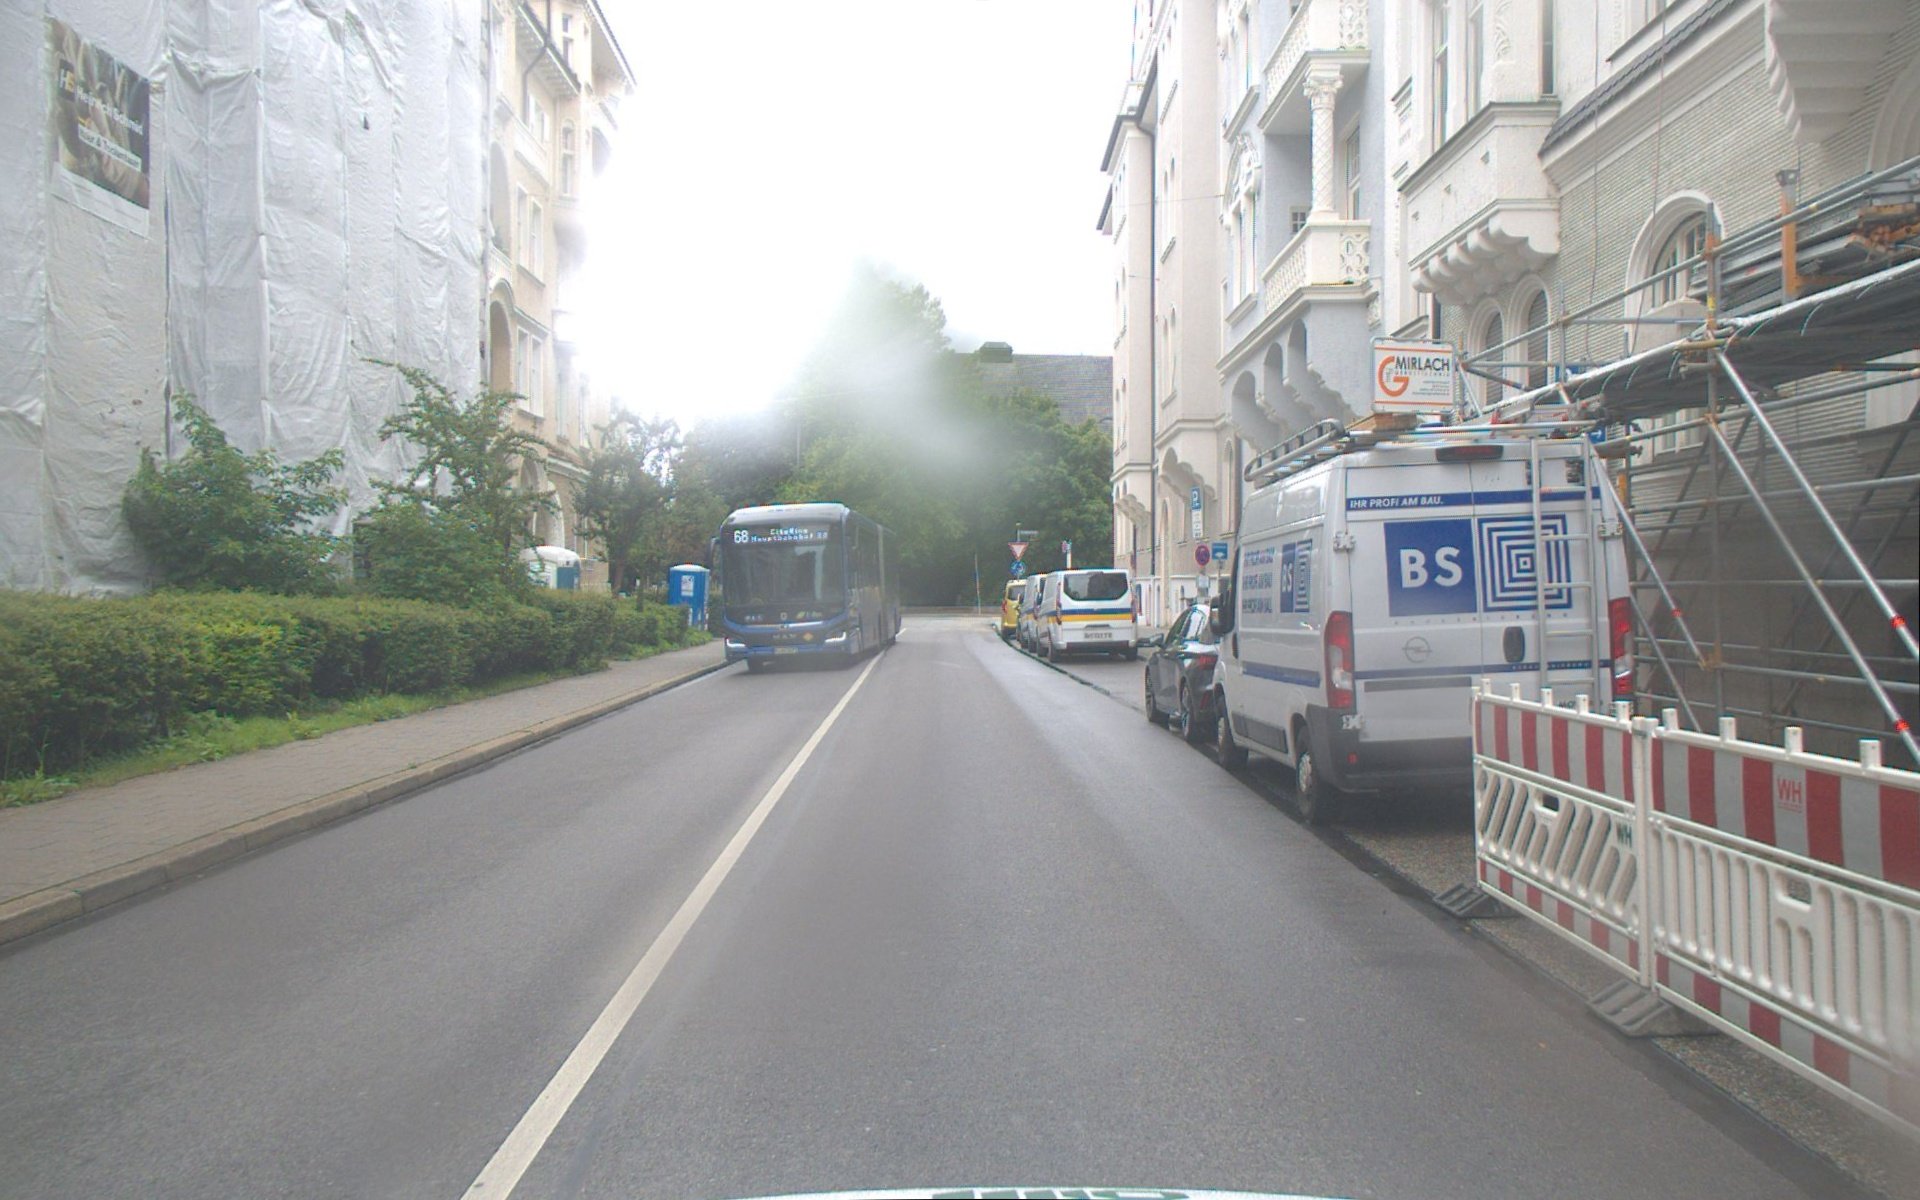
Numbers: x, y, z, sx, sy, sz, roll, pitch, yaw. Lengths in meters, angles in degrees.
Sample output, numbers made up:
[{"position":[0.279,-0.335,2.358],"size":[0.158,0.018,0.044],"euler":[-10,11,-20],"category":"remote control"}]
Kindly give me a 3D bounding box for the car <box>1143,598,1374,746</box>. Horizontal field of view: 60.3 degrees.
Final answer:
[{"position":[3.194,0.710,18.507],"size":[1.751,1.432,4.243],"euler":[0,0,-1],"category":"car"}]

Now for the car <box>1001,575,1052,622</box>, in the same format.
[{"position":[2.925,-0.093,73.267],"size":[1.899,1.955,5.373],"euler":[-1,0,-1],"category":"car"}]

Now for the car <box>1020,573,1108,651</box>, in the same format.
[{"position":[2.688,0.291,43.893],"size":[1.953,1.952,4.885],"euler":[0,0,-1],"category":"car"}]

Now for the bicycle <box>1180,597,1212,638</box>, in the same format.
[{"position":[6.754,0.482,47.391],"size":[0.652,1.153,1.722],"euler":[0,0,0],"category":"bicycle"}]

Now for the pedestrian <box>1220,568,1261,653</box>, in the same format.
[{"position":[6.497,0.244,38.298],"size":[0.834,1.936,0.746],"euler":[0,0,2],"category":"pedestrian"}]

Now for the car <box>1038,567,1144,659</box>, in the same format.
[{"position":[2.902,0.267,37.749],"size":[1.953,1.952,4.877],"euler":[0,0,-1],"category":"car"}]

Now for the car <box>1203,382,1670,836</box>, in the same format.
[{"position":[3.341,0.042,12.928],"size":[2.034,2.735,5.445],"euler":[-2,0,0],"category":"car"}]

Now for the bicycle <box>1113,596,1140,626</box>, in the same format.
[{"position":[6.966,0.453,69.275],"size":[0.821,1.132,2.757],"euler":[-4,0,0],"category":"bicycle"}]

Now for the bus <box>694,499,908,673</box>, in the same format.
[{"position":[-3.365,-0.313,41.030],"size":[3.106,3.268,18.060],"euler":[-2,0,1],"category":"bus"}]

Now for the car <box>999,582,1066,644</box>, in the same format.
[{"position":[2.360,0.390,54.760],"size":[1.953,1.952,4.570],"euler":[0,0,-1],"category":"car"}]
